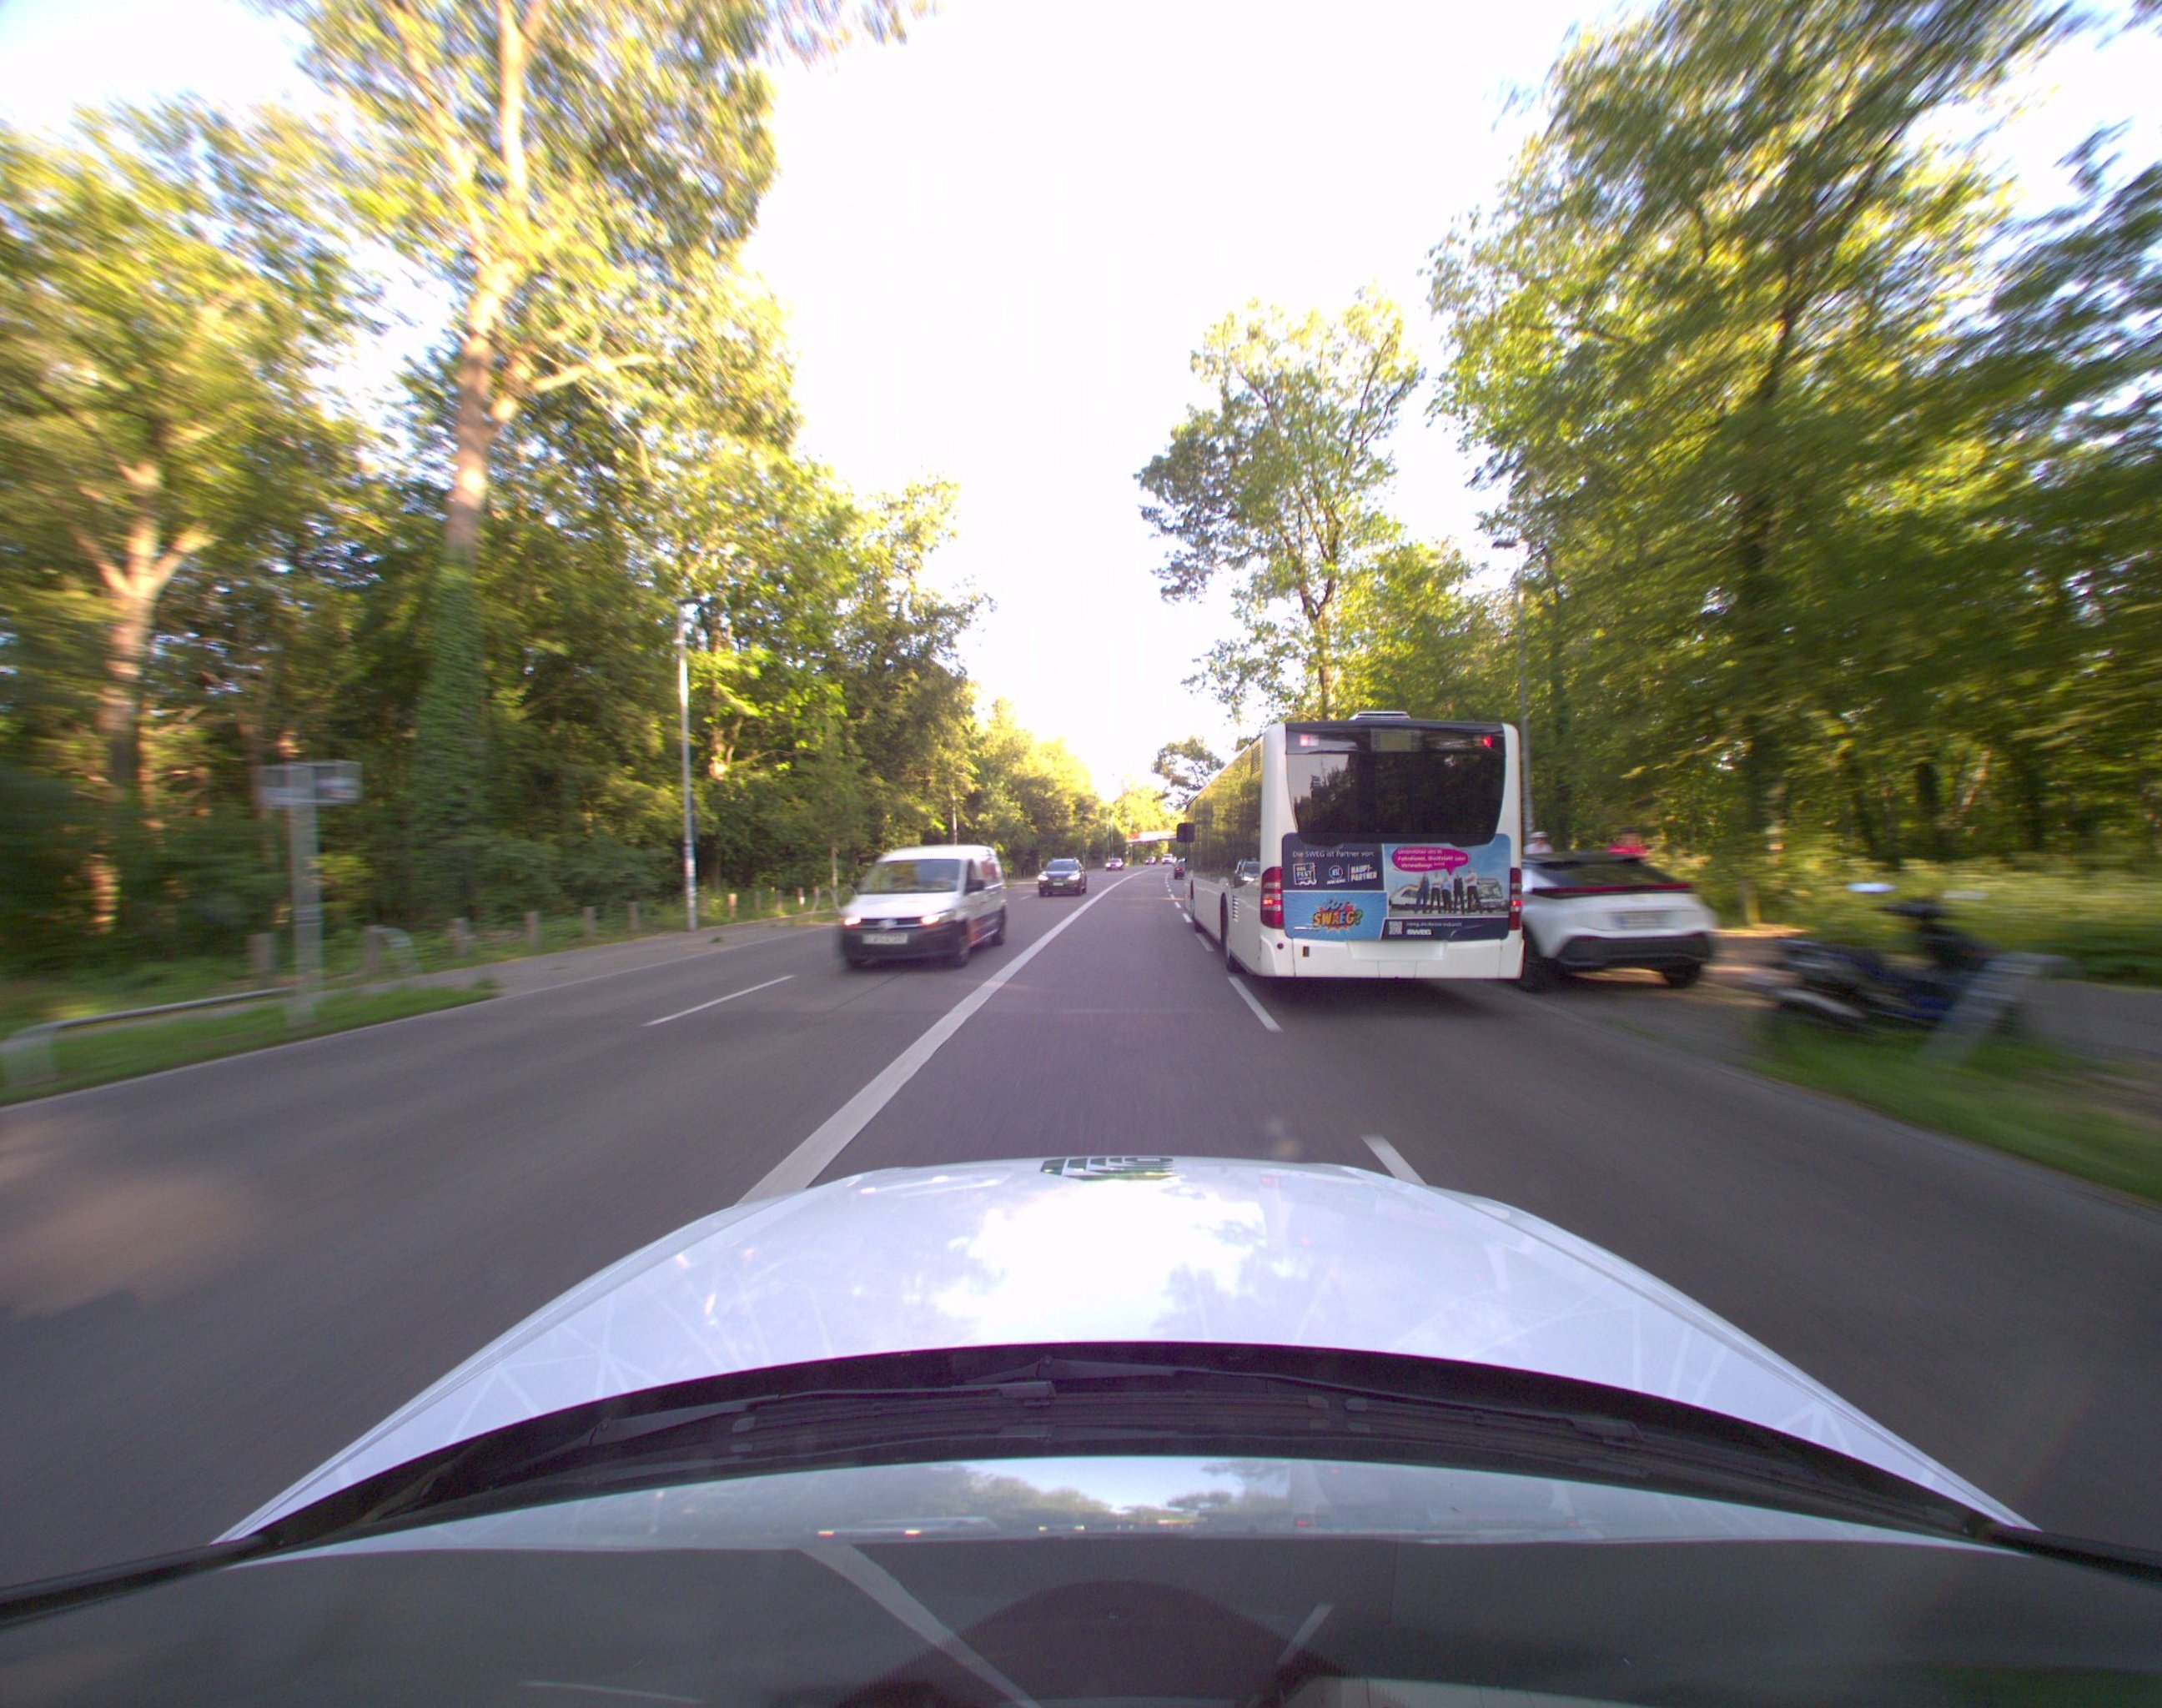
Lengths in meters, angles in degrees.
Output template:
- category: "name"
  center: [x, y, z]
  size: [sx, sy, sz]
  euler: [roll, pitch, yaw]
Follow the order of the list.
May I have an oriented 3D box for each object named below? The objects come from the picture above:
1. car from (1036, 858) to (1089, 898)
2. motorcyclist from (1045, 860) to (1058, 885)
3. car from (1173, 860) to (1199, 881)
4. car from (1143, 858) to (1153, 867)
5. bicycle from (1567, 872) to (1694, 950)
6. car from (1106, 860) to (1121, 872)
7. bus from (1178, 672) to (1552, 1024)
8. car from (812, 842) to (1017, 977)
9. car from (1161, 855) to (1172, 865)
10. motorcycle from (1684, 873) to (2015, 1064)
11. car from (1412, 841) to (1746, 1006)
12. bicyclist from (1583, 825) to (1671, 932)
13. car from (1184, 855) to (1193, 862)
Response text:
- category: "car"
  center: [-0.721, 0.992, 35.015]
  size: [1.797, 1.545, 4.094]
  euler: [-2, -1, 4]
- category: "motorcyclist"
  center: [-1.846, 1.144, 51.258]
  size: [0.653, 1.540, 0.905]
  euler: [-2, -1, 3]
- category: "car"
  center: [7.648, 1.170, 59.557]
  size: [1.720, 1.441, 4.095]
  euler: [-1, -1, 5]
- category: "car"
  center: [13.157, 1.625, 159.187]
  size: [1.791, 1.600, 4.007]
  euler: [-1, -1, 6]
- category: "bicycle"
  center: [8.419, 0.833, 12.594]
  size: [0.700, 1.057, 1.966]
  euler: [-3, -1, 4]
- category: "car"
  center: [4.058, 1.477, 100.882]
  size: [1.816, 1.462, 4.928]
  euler: [-2, 0, 2]
- category: "bus"
  center: [3.359, -0.001, 13.727]
  size: [2.692, 3.222, 12.290]
  euler: [-1, -1, 4]
- category: "car"
  center: [-2.443, 0.767, 13.352]
  size: [1.897, 1.756, 4.807]
  euler: [-2, -1, 5]
- category: "car"
  center: [16.913, 1.209, 161.268]
  size: [2.195, 1.961, 4.921]
  euler: [-2, -1, 6]
- category: "motorcycle"
  center: [5.726, 0.817, 6.149]
  size: [1.728, 1.253, 0.771]
  euler: [-3, -1, -1]
- category: "car"
  center: [5.957, 0.720, 10.508]
  size: [1.798, 1.560, 4.463]
  euler: [-4, -1, 5]
- category: "bicyclist"
  center: [8.412, 0.370, 12.585]
  size: [0.698, 1.561, 0.877]
  euler: [-4, -1, 4]
- category: "car"
  center: [26.930, 1.120, 203.481]
  size: [1.906, 1.704, 4.454]
  euler: [-2, -1, 10]
